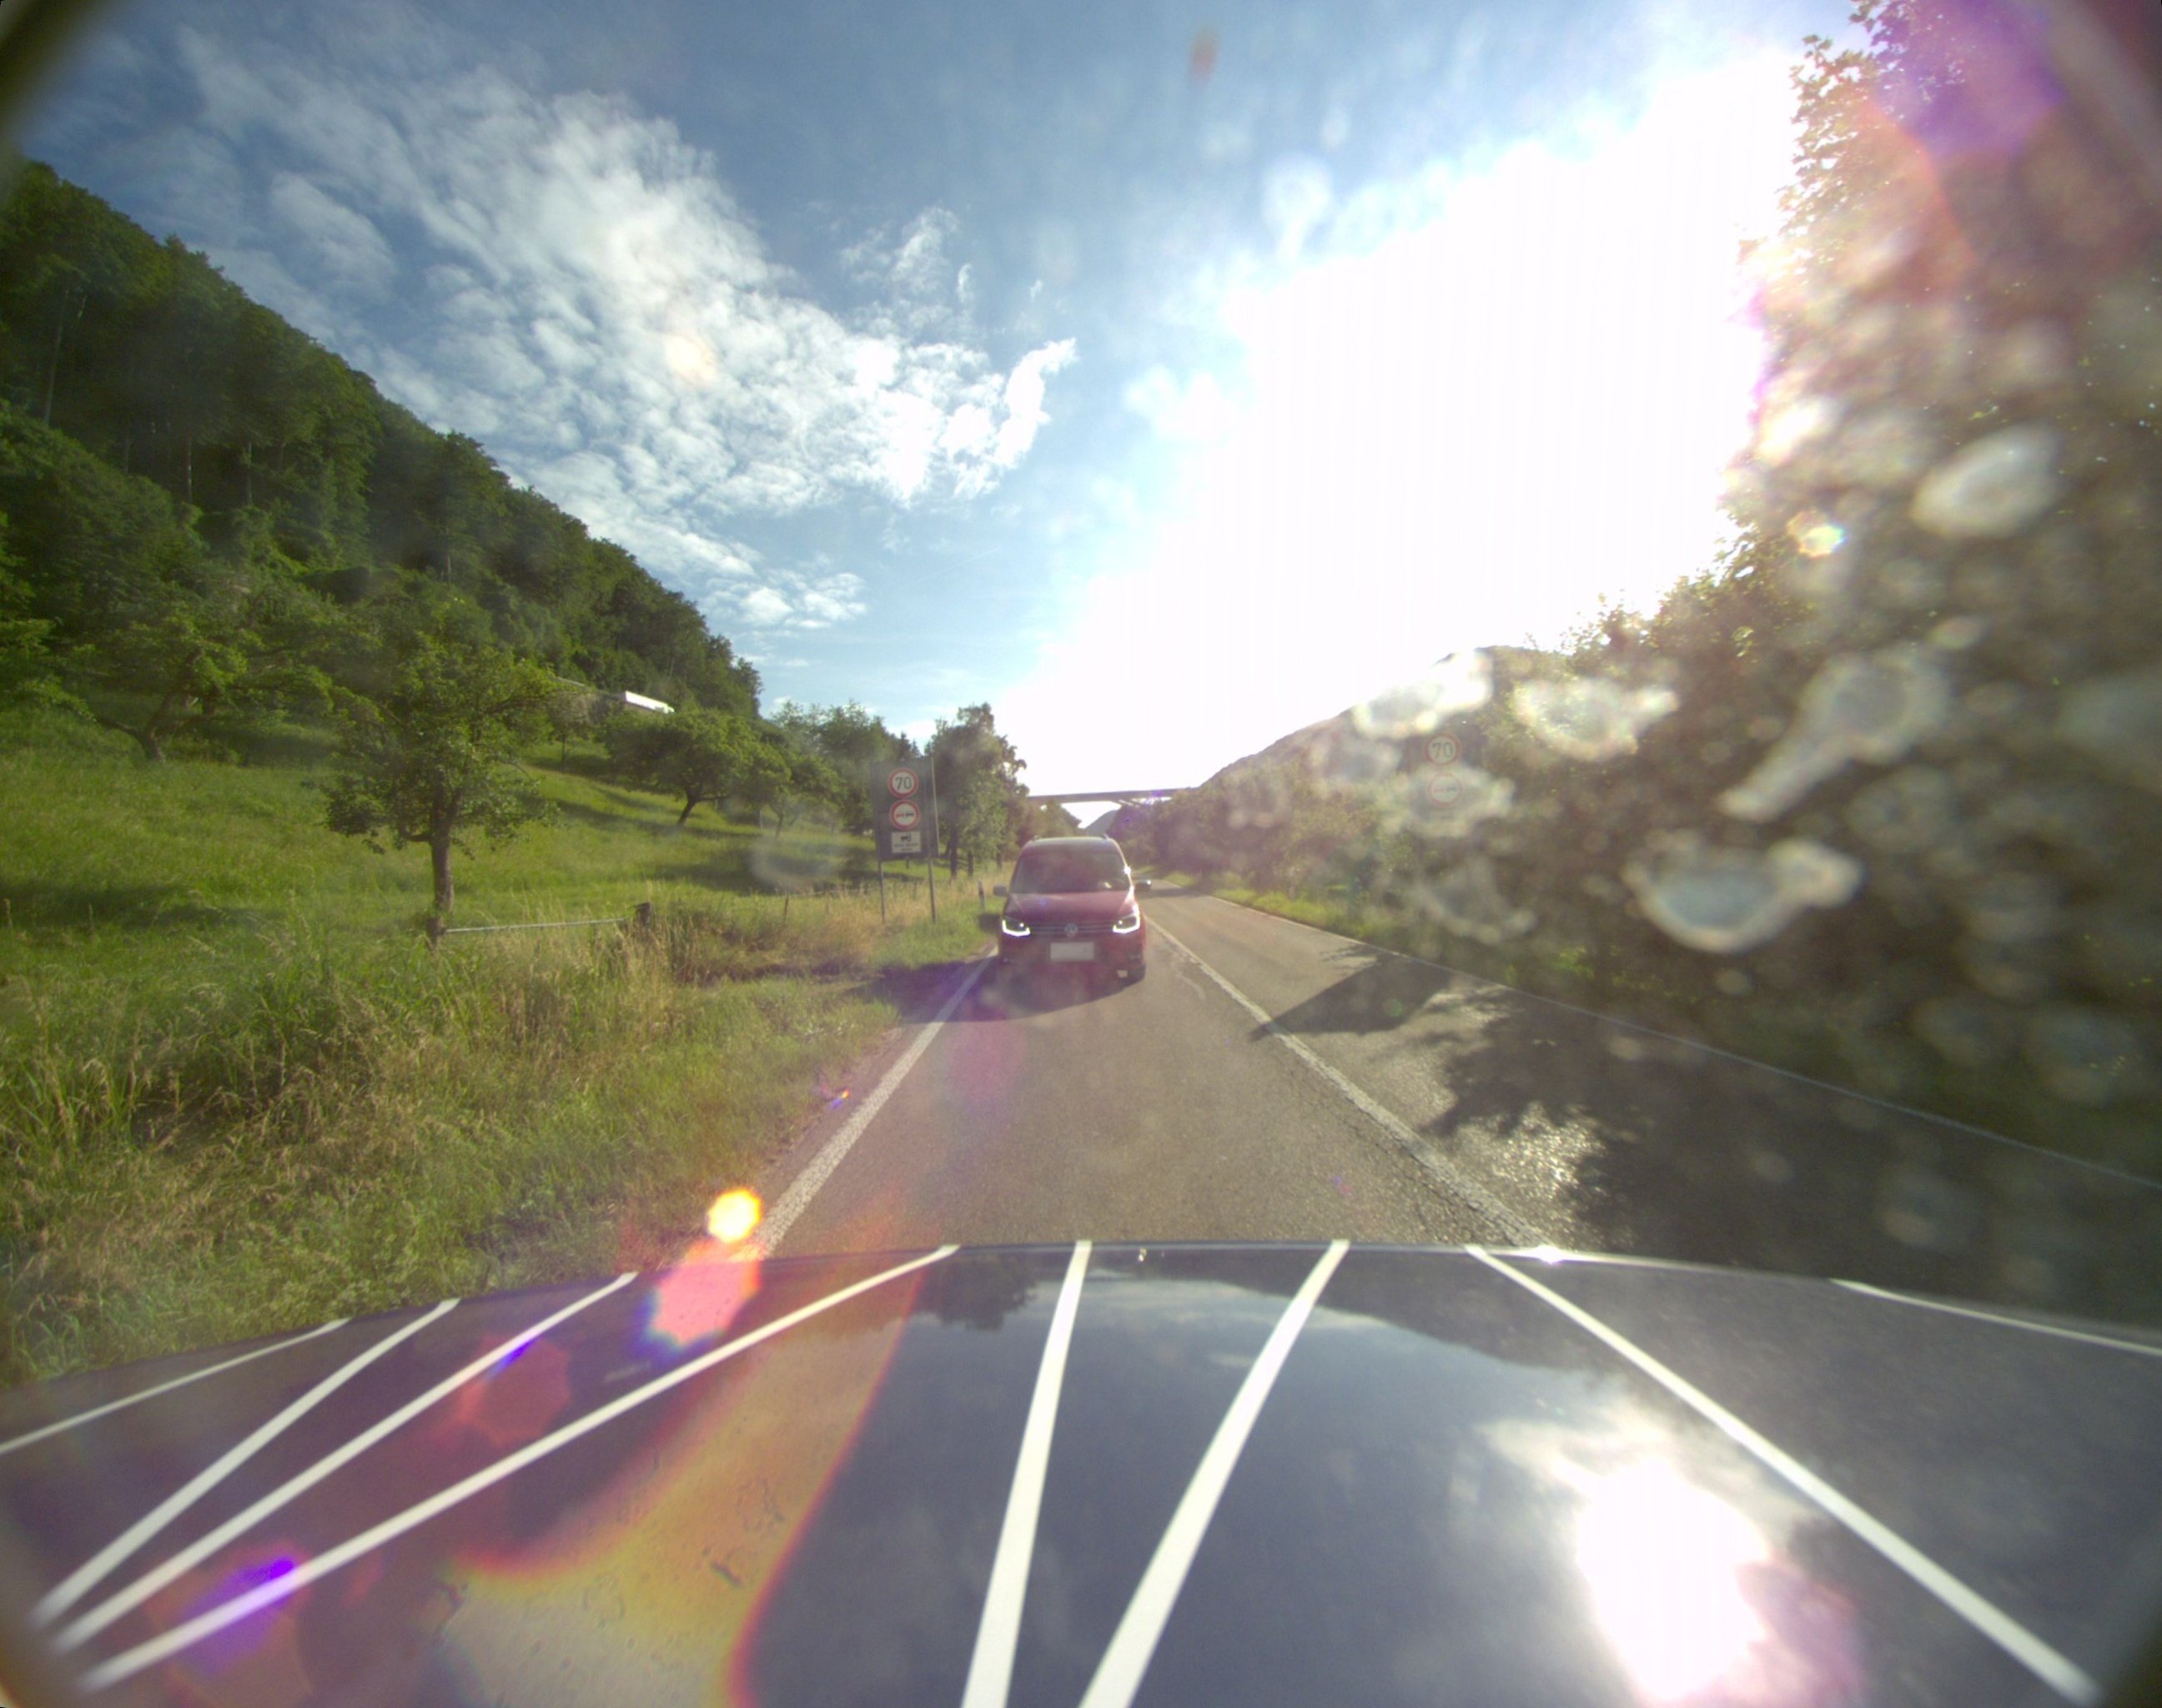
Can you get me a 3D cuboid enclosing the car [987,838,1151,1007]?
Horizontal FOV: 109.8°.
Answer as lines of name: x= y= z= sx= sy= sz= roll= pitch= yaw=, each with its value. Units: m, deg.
car: x=-0.159 y=0.748 z=10.250 sx=1.741 sy=1.803 sz=4.000 roll=-1 pitch=0 yaw=-1
